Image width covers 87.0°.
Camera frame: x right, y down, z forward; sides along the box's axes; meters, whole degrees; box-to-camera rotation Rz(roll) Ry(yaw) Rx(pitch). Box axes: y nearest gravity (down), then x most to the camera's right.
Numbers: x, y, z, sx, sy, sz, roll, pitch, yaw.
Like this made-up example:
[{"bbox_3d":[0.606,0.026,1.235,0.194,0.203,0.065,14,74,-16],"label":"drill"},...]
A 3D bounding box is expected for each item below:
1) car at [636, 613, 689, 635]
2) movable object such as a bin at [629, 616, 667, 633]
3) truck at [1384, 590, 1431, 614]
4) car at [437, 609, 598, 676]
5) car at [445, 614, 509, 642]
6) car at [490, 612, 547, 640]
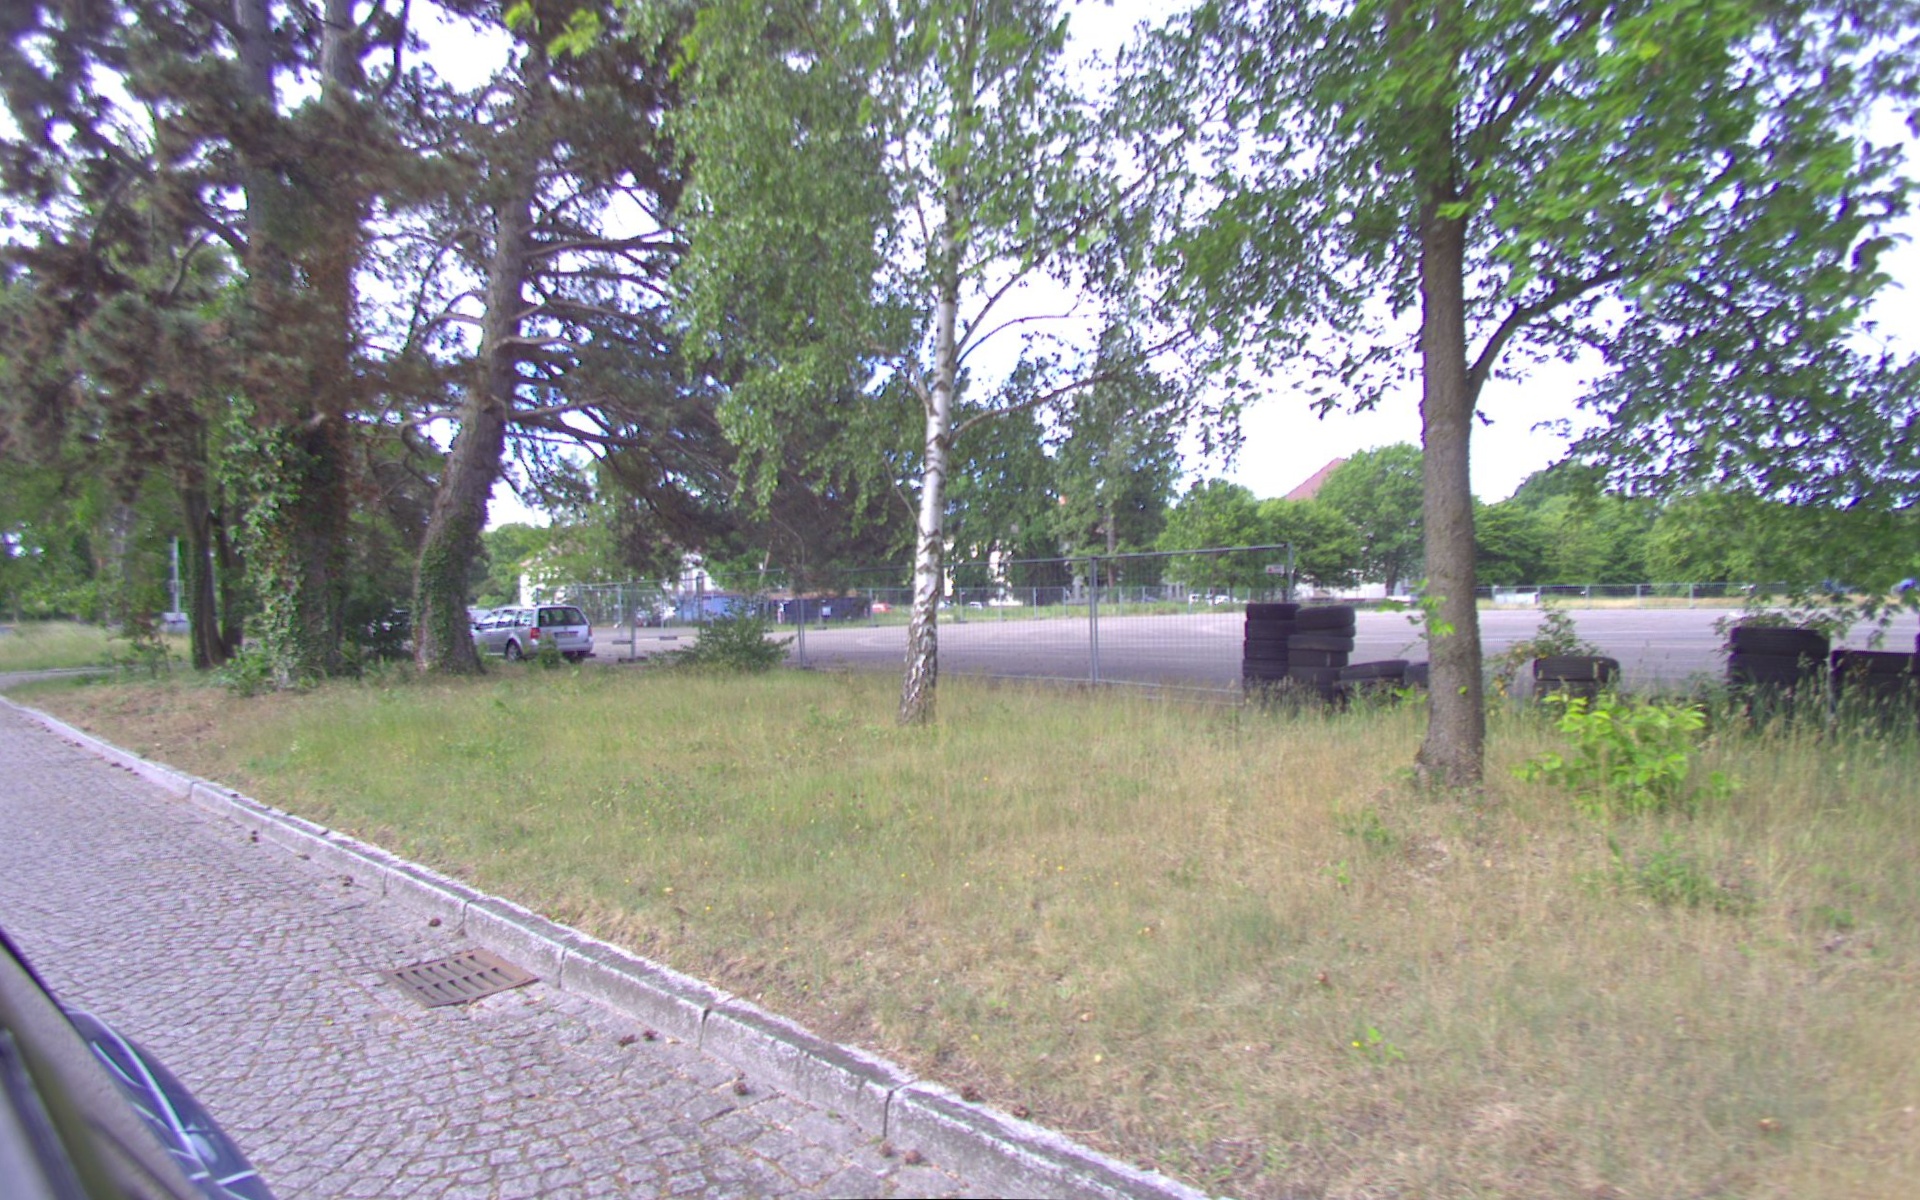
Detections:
[{"bbox_3d":[-24.609,1.957,83.653,4.579,1.586,1.817,-4,-2,39],"label":"car"},{"bbox_3d":[-17.128,1.349,55.595,1.931,0.940,1.029,-2,-1,34],"label":"movable object such as a bin"},{"bbox_3d":[42.923,0.196,96.919,2.373,2.215,6.467,-2,0,40],"label":"truck"},{"bbox_3d":[-10.766,1.002,24.488,4.462,1.449,1.699,-2,-1,39],"label":"car"},{"bbox_3d":[-29.234,1.696,61.153,4.582,1.480,1.816,-4,-2,41],"label":"car"},{"bbox_3d":[-27.680,1.646,63.397,4.112,1.533,1.714,-4,-2,41],"label":"car"}]
